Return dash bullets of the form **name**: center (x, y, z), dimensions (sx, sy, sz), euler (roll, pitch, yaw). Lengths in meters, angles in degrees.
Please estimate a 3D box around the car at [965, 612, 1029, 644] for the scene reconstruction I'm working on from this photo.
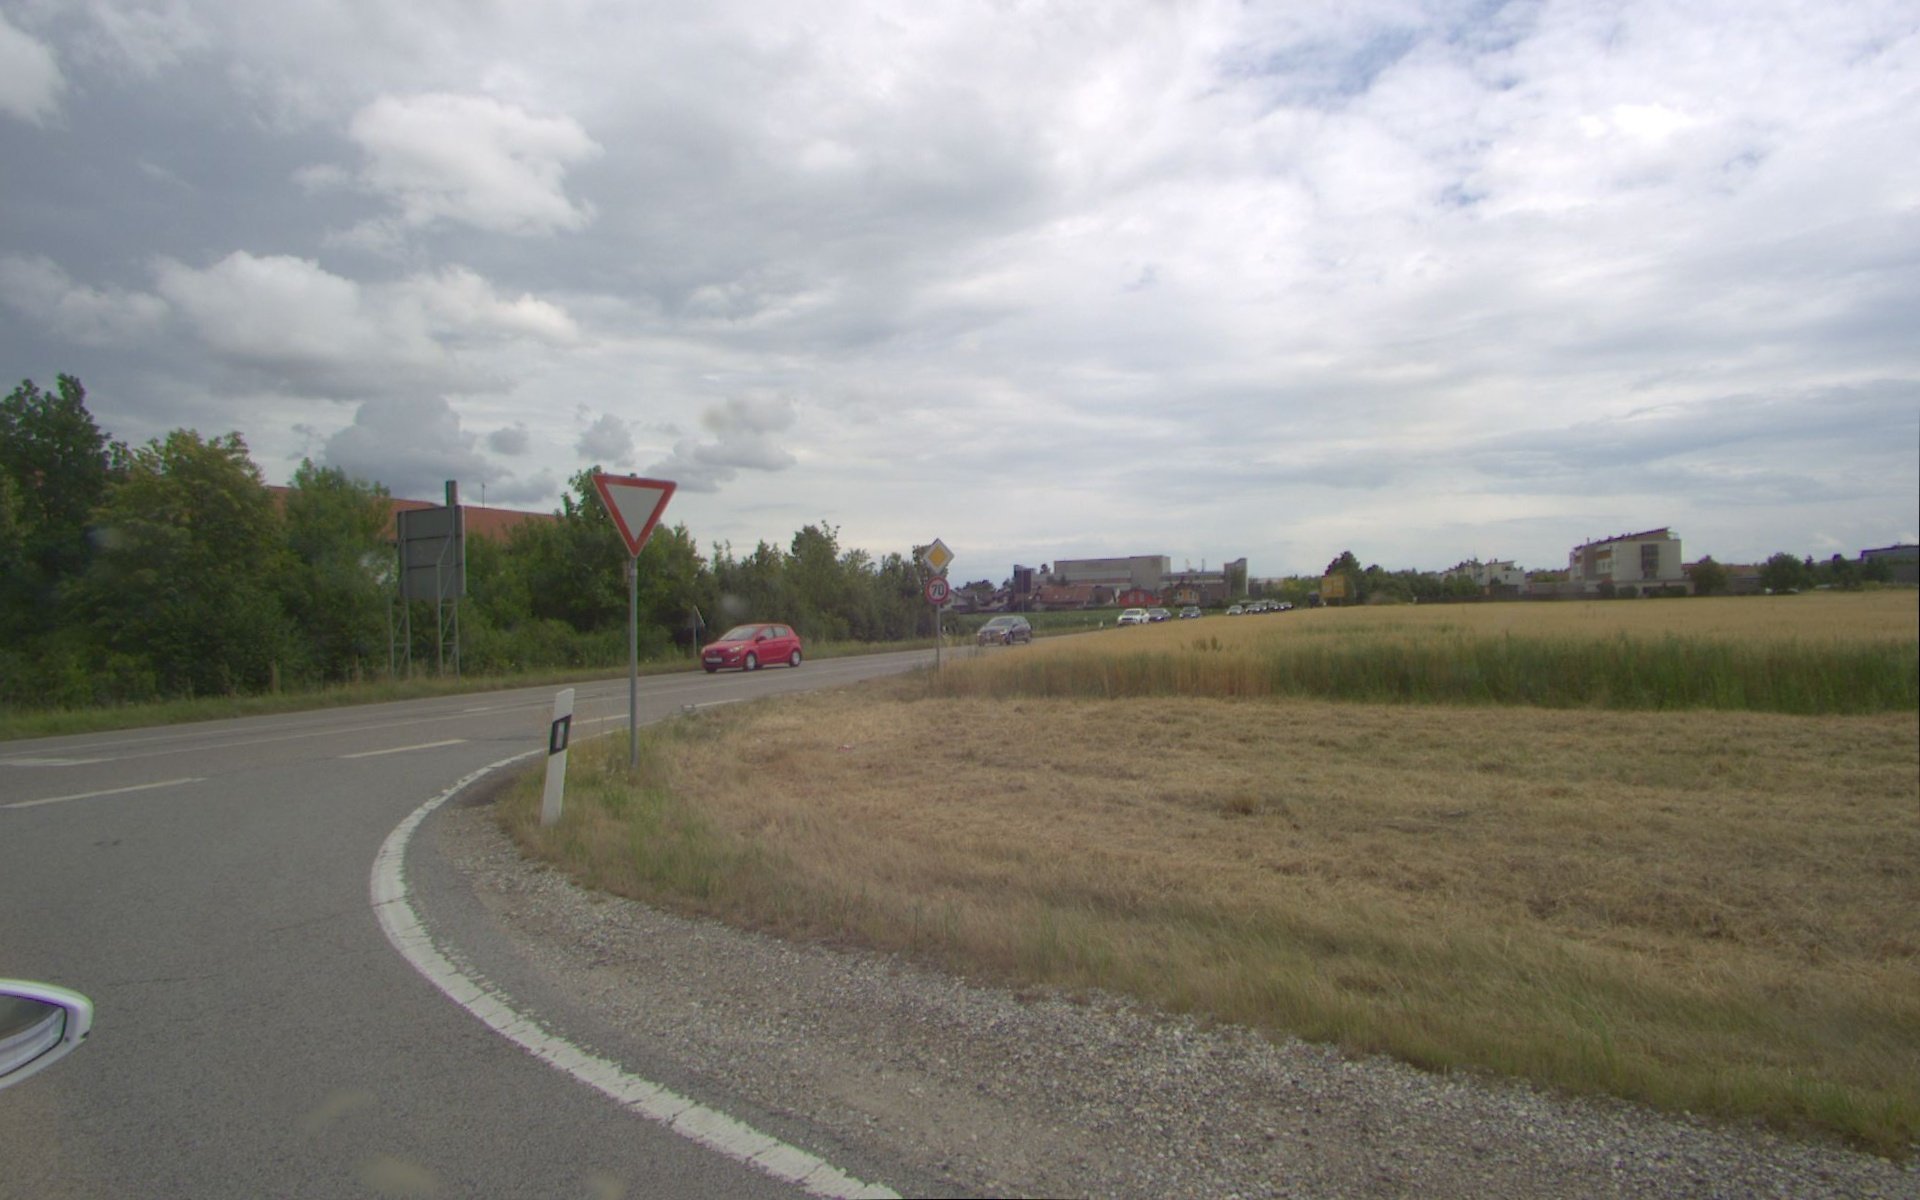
- **car**: center (1.928, 1.400, 50.497), dimensions (1.826, 1.486, 3.987), euler (-1, 0, 24)

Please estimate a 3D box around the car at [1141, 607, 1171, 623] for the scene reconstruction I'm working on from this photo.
- **car**: center (16.723, 1.265, 85.221), dimensions (1.825, 1.287, 3.519), euler (-1, 0, 23)

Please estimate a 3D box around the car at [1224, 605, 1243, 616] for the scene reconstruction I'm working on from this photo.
- **car**: center (33.470, 1.290, 122.528), dimensions (1.825, 1.287, 3.519), euler (-1, 0, 23)

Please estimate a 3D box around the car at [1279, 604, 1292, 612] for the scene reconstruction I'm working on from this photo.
- **car**: center (56.450, 1.315, 173.845), dimensions (1.825, 1.287, 3.519), euler (-1, 0, 23)

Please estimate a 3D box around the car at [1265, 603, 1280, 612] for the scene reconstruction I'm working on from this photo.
- **car**: center (48.620, 1.122, 155.881), dimensions (1.825, 1.287, 3.519), euler (-1, 0, 23)

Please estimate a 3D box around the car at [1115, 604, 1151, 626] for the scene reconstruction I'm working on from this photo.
- **car**: center (13.094, 1.119, 75.715), dimensions (1.825, 1.486, 3.988), euler (-1, 0, 23)

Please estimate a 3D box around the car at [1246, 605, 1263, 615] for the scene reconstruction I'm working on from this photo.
- **car**: center (40.872, 1.328, 139.092), dimensions (1.825, 1.287, 3.519), euler (-1, 0, 23)

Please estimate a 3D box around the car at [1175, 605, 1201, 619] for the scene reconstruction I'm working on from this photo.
- **car**: center (21.946, 1.142, 96.165), dimensions (1.825, 1.287, 3.519), euler (-1, 0, 23)

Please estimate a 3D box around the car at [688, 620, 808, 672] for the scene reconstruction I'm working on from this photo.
- **car**: center (-6.846, 1.451, 32.728), dimensions (1.826, 1.486, 3.987), euler (-1, 0, 24)
